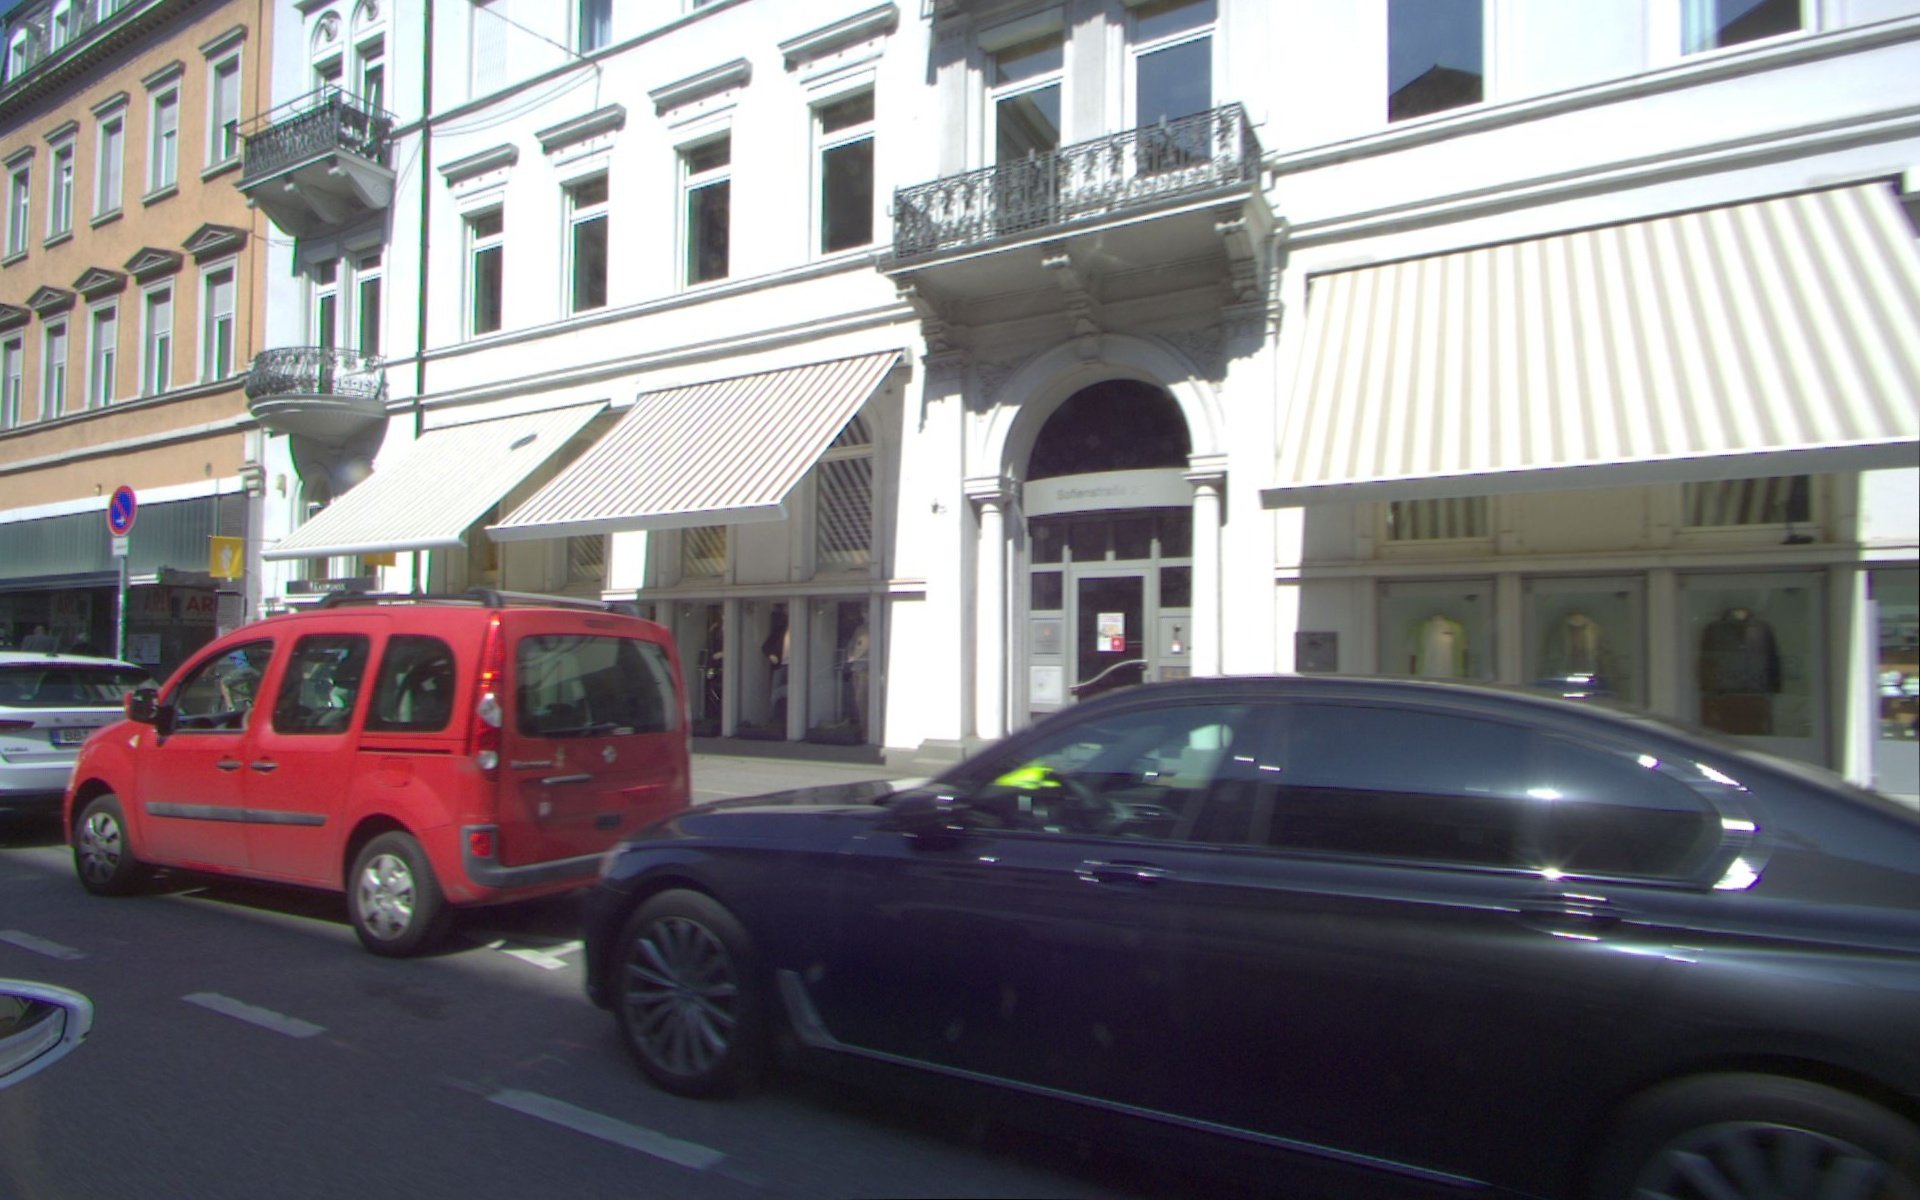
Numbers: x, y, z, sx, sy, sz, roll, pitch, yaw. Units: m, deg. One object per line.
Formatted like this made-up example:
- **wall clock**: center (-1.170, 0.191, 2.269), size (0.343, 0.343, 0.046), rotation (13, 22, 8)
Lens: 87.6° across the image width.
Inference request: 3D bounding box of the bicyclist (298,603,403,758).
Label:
- **bicyclist**: center (-7.375, 0.956, 12.116), size (0.998, 1.791, 0.646), rotation (0, -2, 30)

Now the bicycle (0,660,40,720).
- **bicycle**: center (-17.316, 1.594, 17.984), size (2.072, 1.009, 0.563), rotation (-1, -2, 31)

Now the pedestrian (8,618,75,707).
- **pedestrian**: center (-18.475, 1.251, 20.144), size (0.826, 1.739, 0.874), rotation (-1, -2, 41)

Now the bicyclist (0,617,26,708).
- **bicyclist**: center (-17.438, 1.114, 18.077), size (0.907, 1.615, 0.582), rotation (0, -2, 31)

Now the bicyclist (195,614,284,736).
- **bicyclist**: center (-10.441, 1.069, 14.517), size (0.998, 1.706, 0.646), rotation (0, -2, 30)

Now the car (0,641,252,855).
- **car**: center (-8.556, 1.122, 8.805), size (4.506, 1.484, 1.815), rotation (0, -4, 26)

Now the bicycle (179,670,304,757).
- **bicycle**: center (-10.432, 1.606, 14.516), size (2.071, 1.134, 0.646), rotation (-1, -2, 30)

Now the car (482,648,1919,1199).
- **car**: center (0.854, 0.974, 3.444), size (5.146, 1.487, 1.859), rotation (-1, -5, 30)

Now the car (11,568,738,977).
- **car**: center (-3.751, 0.871, 6.396), size (4.283, 1.886, 1.829), rotation (0, -4, 25)

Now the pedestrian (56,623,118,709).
- **pedestrian**: center (-17.654, 1.321, 20.252), size (0.930, 1.706, 0.646), rotation (0, -2, 30)

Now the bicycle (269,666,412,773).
- **bicycle**: center (-7.513, 1.406, 12.114), size (2.041, 1.135, 0.554), rotation (0, 0, 29)
